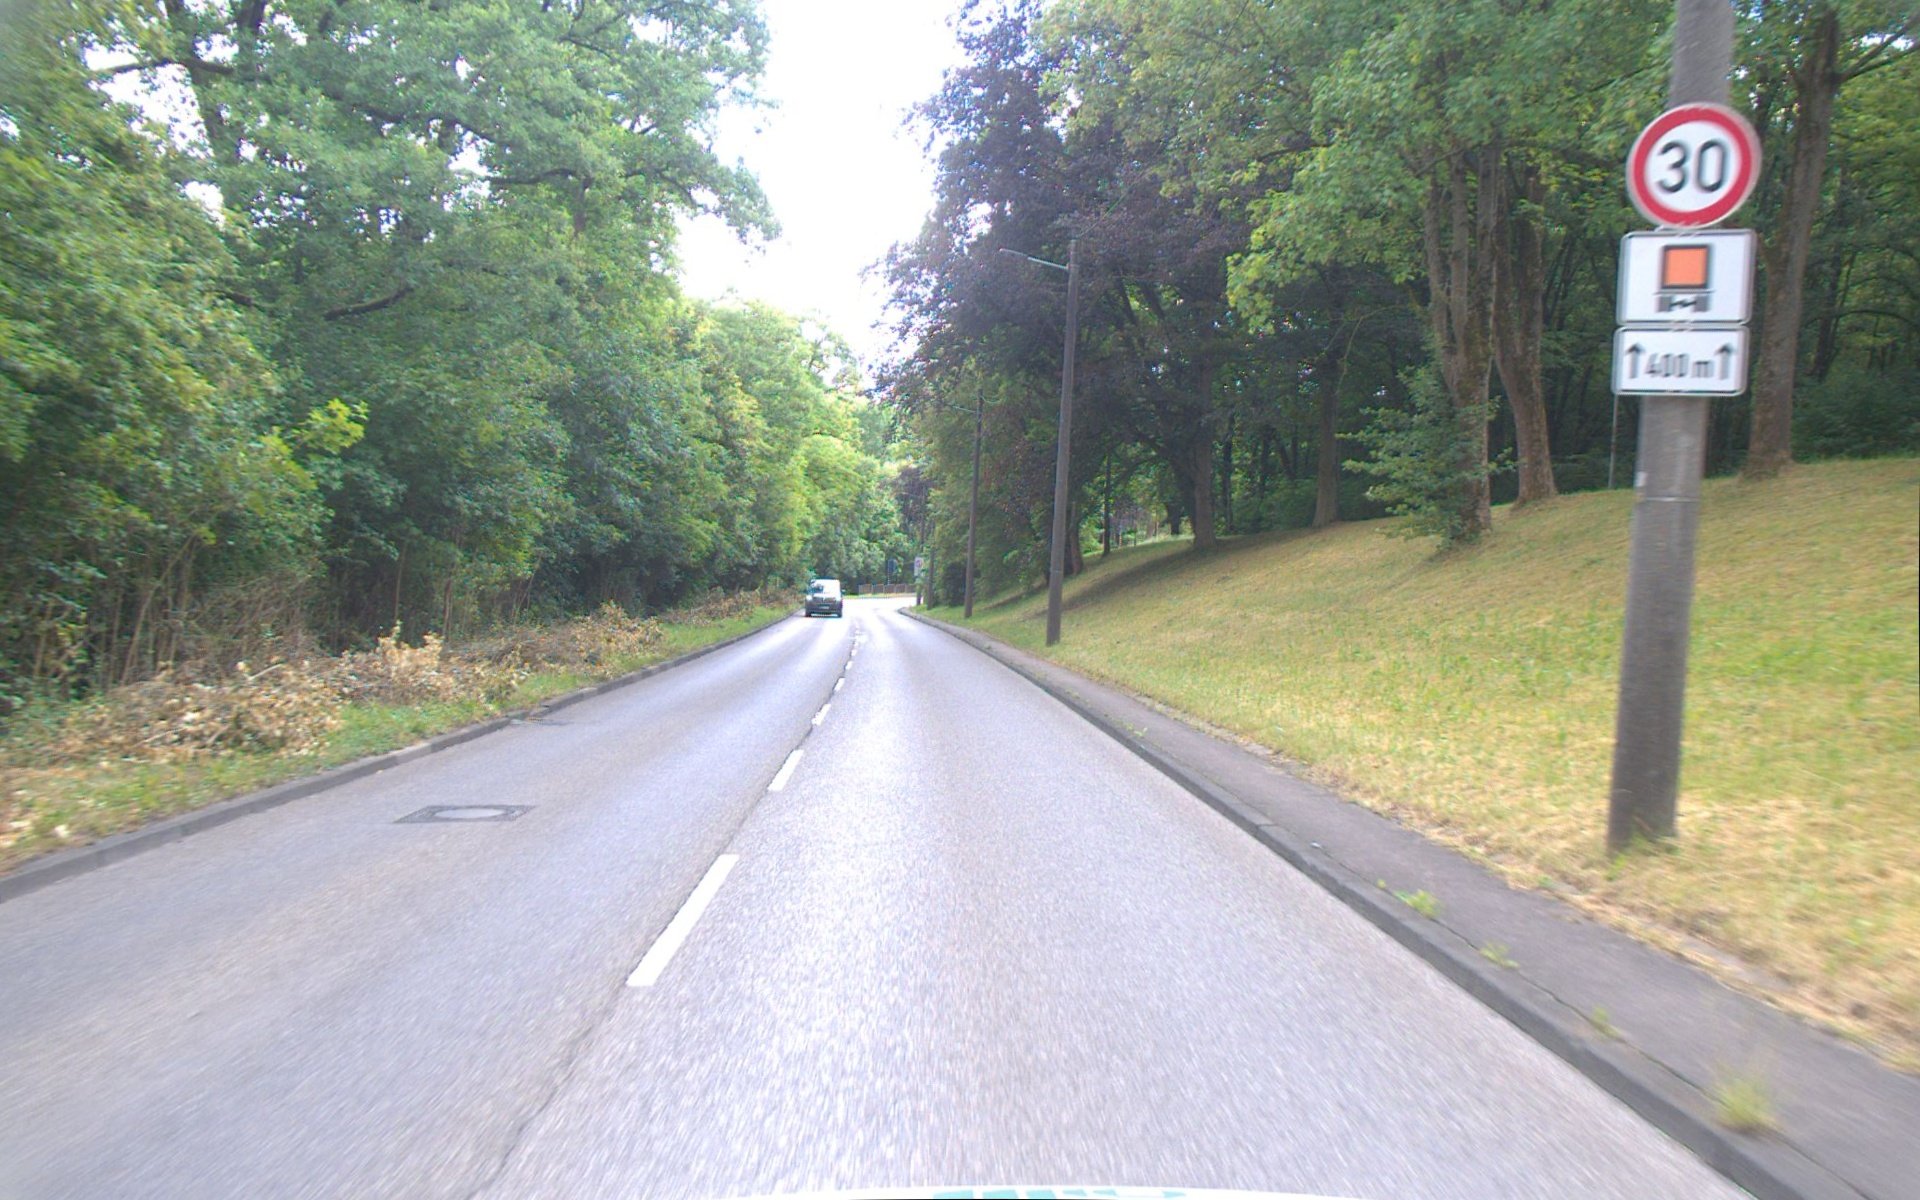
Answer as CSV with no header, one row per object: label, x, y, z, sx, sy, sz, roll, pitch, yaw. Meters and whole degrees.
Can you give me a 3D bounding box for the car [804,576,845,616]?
car,-6.957,-0.197,85.144,1.954,1.982,4.941,2,0,-4
